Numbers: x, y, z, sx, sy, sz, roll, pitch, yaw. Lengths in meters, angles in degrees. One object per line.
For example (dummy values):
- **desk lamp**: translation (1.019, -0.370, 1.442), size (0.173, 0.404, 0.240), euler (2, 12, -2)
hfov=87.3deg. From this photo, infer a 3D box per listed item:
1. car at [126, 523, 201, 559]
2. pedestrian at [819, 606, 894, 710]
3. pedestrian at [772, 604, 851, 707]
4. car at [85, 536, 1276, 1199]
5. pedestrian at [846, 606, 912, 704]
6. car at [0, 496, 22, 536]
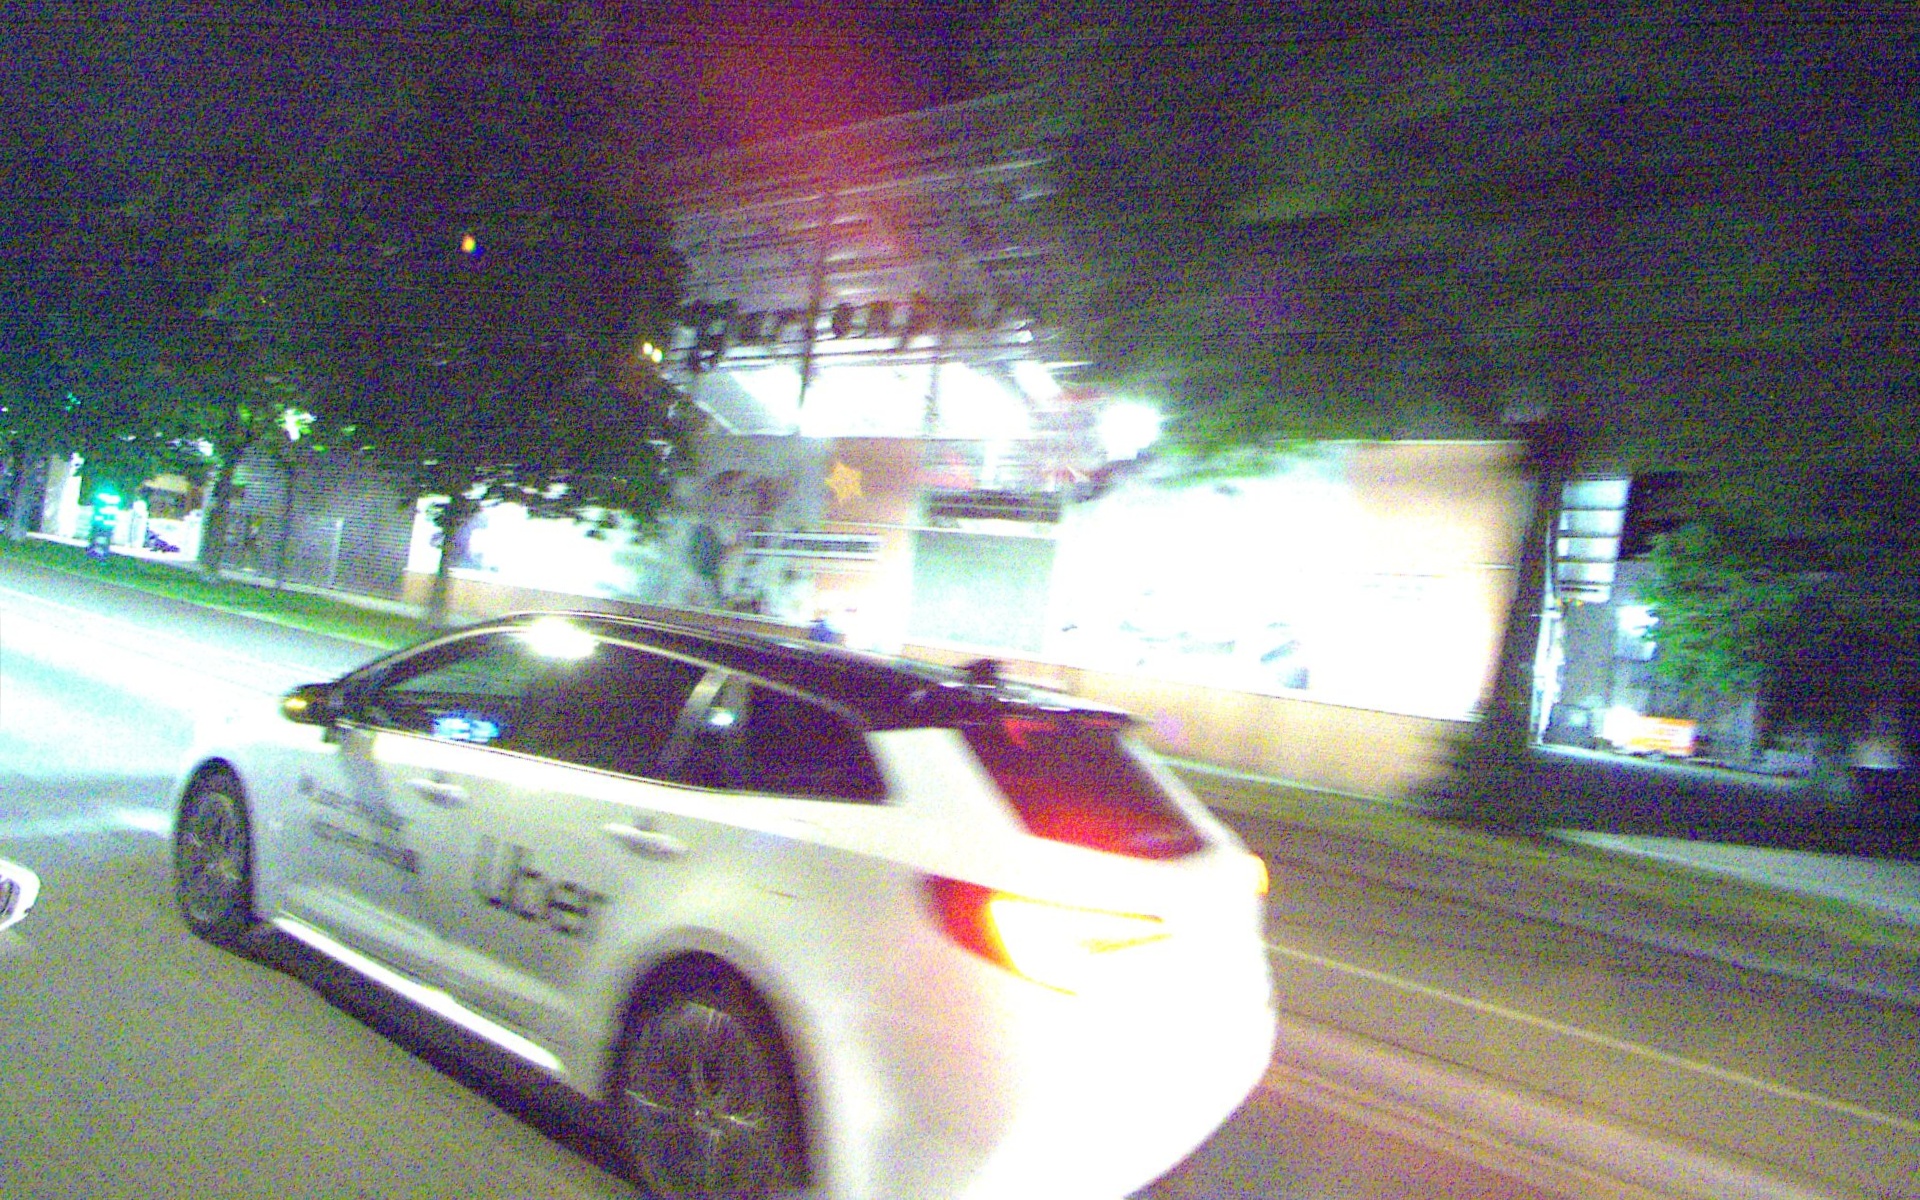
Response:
- **car**: translation (-36.048, -2.685, 45.513), size (3.481, 1.181, 1.461), euler (6, -3, 32)
- **pedestrian**: translation (-1.944, 1.095, 18.920), size (0.954, 1.810, 0.720), euler (7, -1, 33)
- **pedestrian**: translation (-2.708, 1.009, 18.360), size (0.969, 1.737, 0.736), euler (7, -1, 33)
- **car**: translation (-1.328, 0.764, 3.839), size (4.424, 1.445, 1.728), euler (7, -3, 33)
- **pedestrian**: translation (-1.622, 1.112, 20.178), size (0.891, 1.838, 0.675), euler (7, -1, 33)
- **car**: translation (-38.639, -3.502, 38.125), size (1.757, 1.471, 4.089), euler (7, -2, 31)
